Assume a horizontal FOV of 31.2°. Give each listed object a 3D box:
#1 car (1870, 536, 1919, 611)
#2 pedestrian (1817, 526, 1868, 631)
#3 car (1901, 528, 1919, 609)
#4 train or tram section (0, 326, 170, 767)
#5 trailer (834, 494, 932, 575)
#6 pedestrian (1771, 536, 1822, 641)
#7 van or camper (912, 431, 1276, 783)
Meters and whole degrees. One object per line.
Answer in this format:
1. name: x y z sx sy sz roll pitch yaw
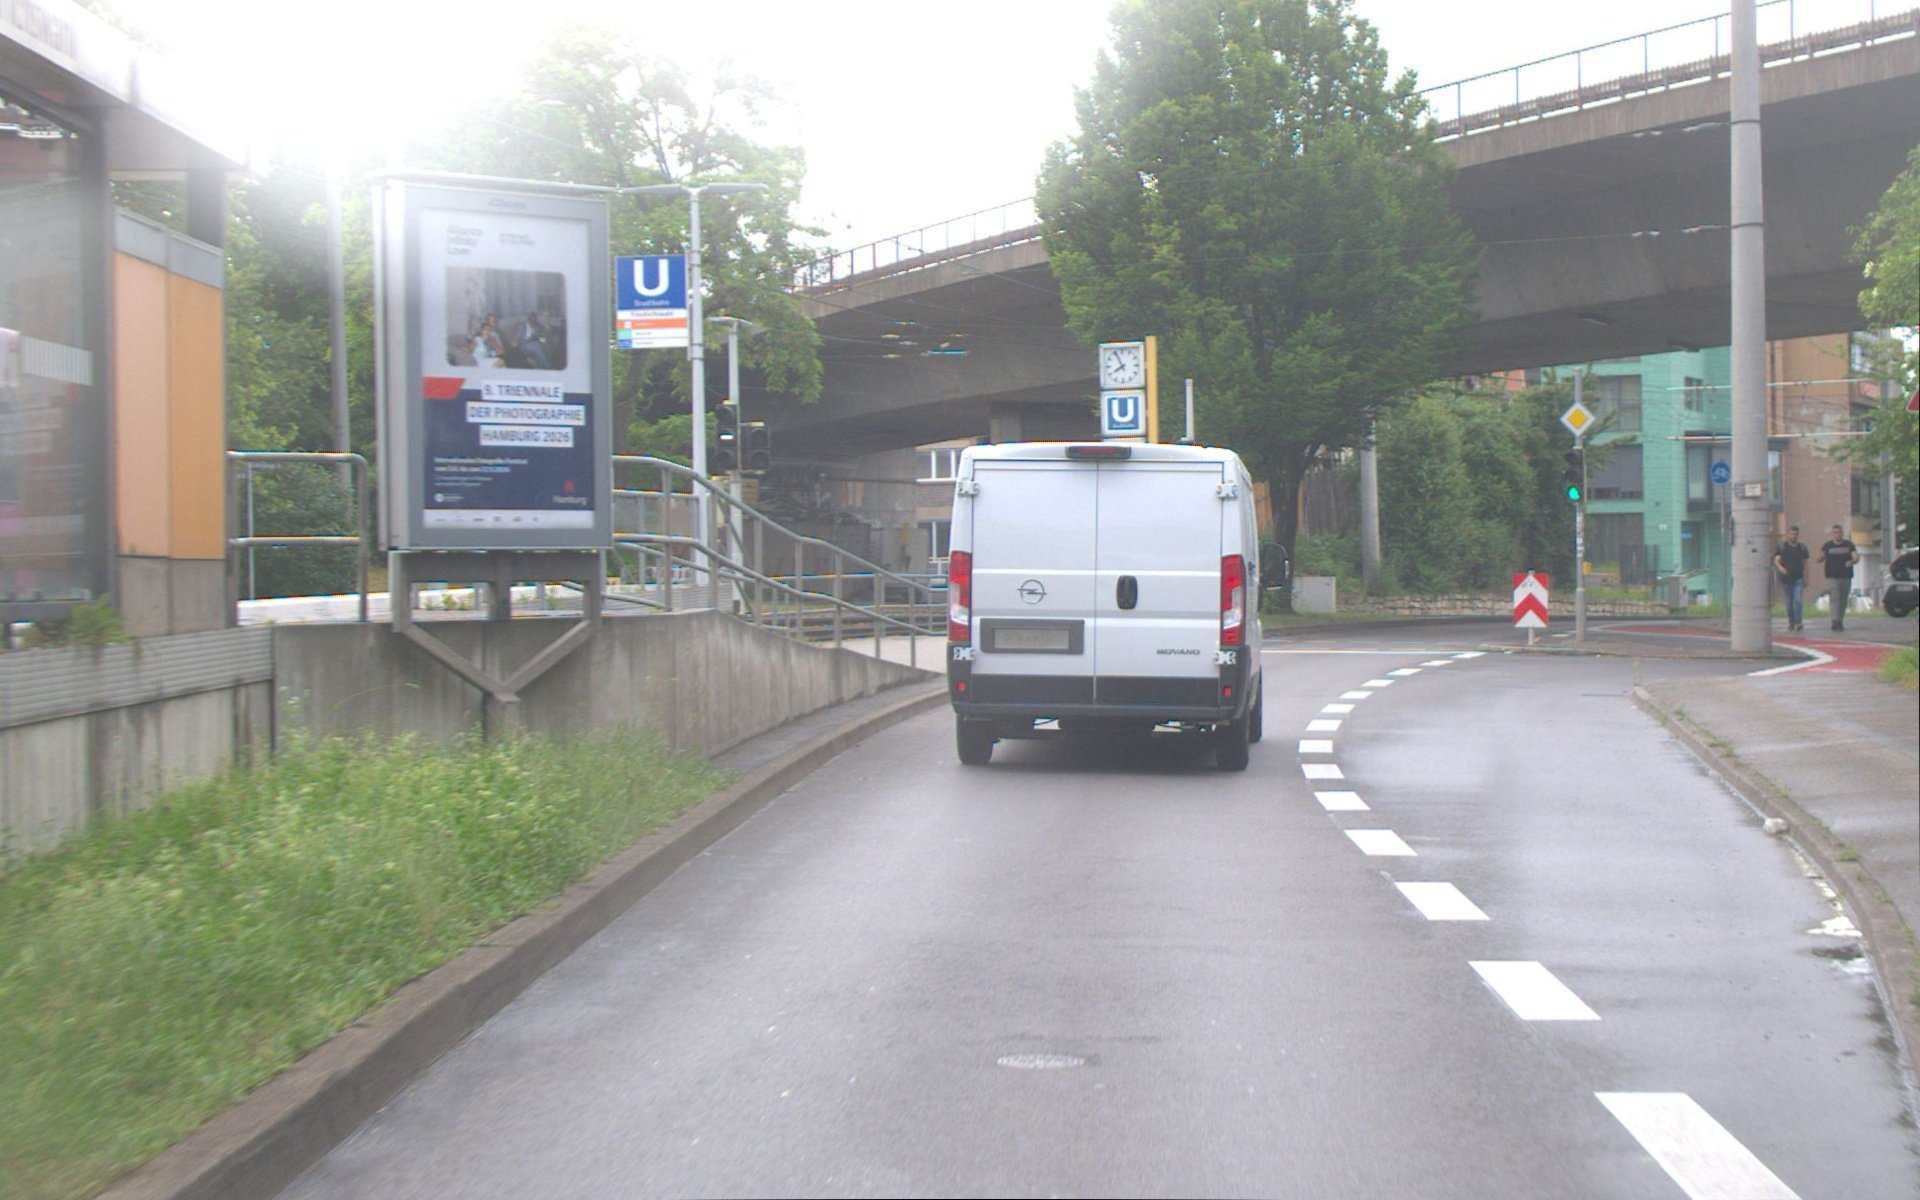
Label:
1. car: 21.011 -0.537 71.578 3.723 1.517 1.803 0 0 -26
2. pedestrian: 15.461 -0.378 60.220 0.597 1.816 0.909 2 0 0
3. car: 21.109 -0.613 68.925 4.010 1.625 1.967 0 0 -26
4. train or tram section: -10.246 -0.513 26.531 2.868 3.947 19.329 2 0 3
5. trailer: -2.667 -2.227 118.510 1.993 2.716 4.124 1 0 -22
6. pedestrian: 14.697 -0.201 60.442 0.625 1.802 0.836 2 0 0
7. van or camper: 1.092 0.044 25.020 2.199 2.245 4.682 2 0 7
